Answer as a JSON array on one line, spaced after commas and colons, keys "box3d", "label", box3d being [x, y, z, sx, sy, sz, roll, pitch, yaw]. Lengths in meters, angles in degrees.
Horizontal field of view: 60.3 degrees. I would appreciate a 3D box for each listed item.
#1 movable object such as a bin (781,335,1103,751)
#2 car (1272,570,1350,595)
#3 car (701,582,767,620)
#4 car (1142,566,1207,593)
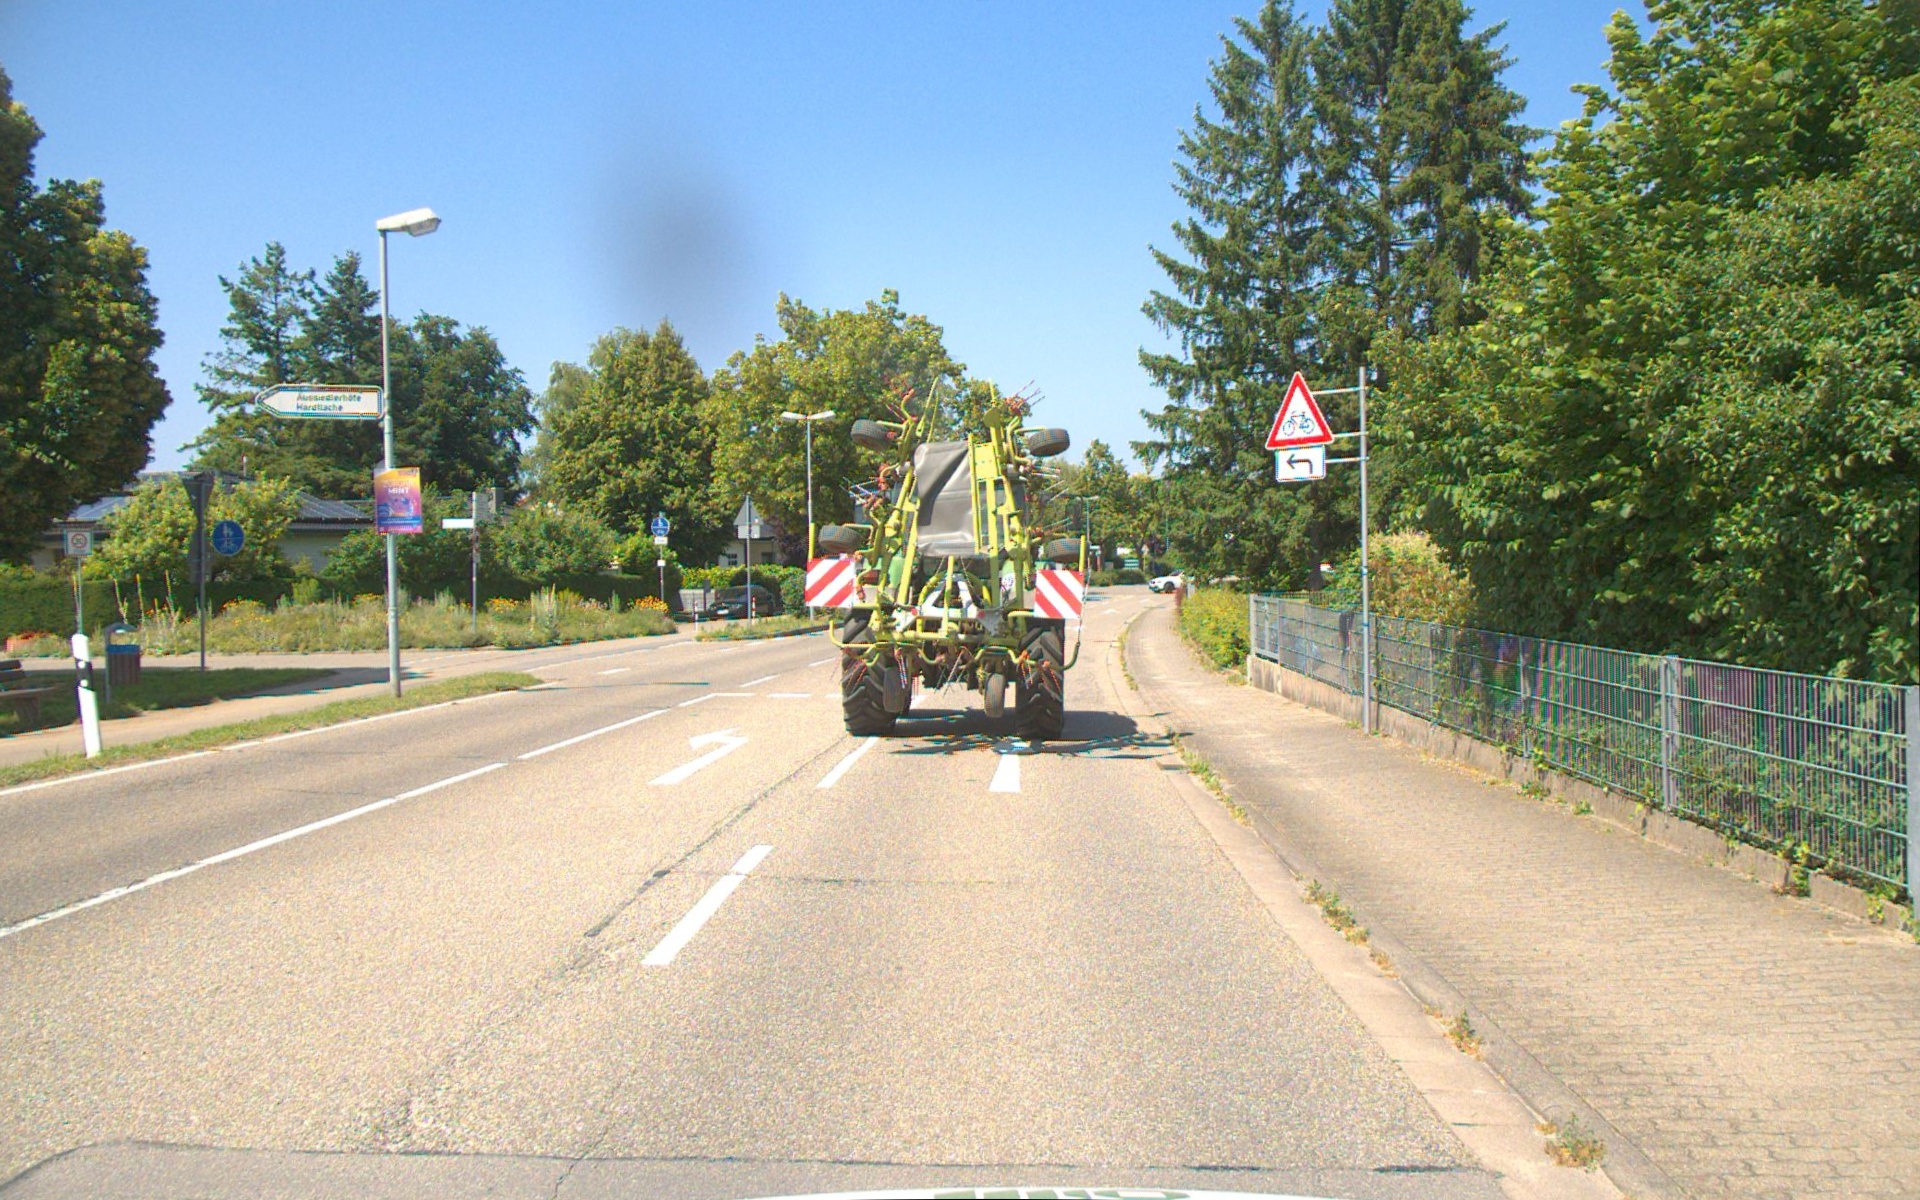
[{"box3d": [0.078, -0.543, 19.279, 2.793, 3.603, 9.704, 0, 1, 3], "label": "movable object such as a bin"}, {"box3d": [18.707, -0.944, 88.226, 3.739, 1.317, 1.681, 0, 1, -8], "label": "car"}, {"box3d": [-9.627, 0.016, 70.751, 1.652, 1.556, 4.004, 0, 1, 10], "label": "car"}, {"box3d": [14.160, -1.340, 108.971, 3.943, 1.745, 1.845, -1, 1, -29], "label": "car"}]
